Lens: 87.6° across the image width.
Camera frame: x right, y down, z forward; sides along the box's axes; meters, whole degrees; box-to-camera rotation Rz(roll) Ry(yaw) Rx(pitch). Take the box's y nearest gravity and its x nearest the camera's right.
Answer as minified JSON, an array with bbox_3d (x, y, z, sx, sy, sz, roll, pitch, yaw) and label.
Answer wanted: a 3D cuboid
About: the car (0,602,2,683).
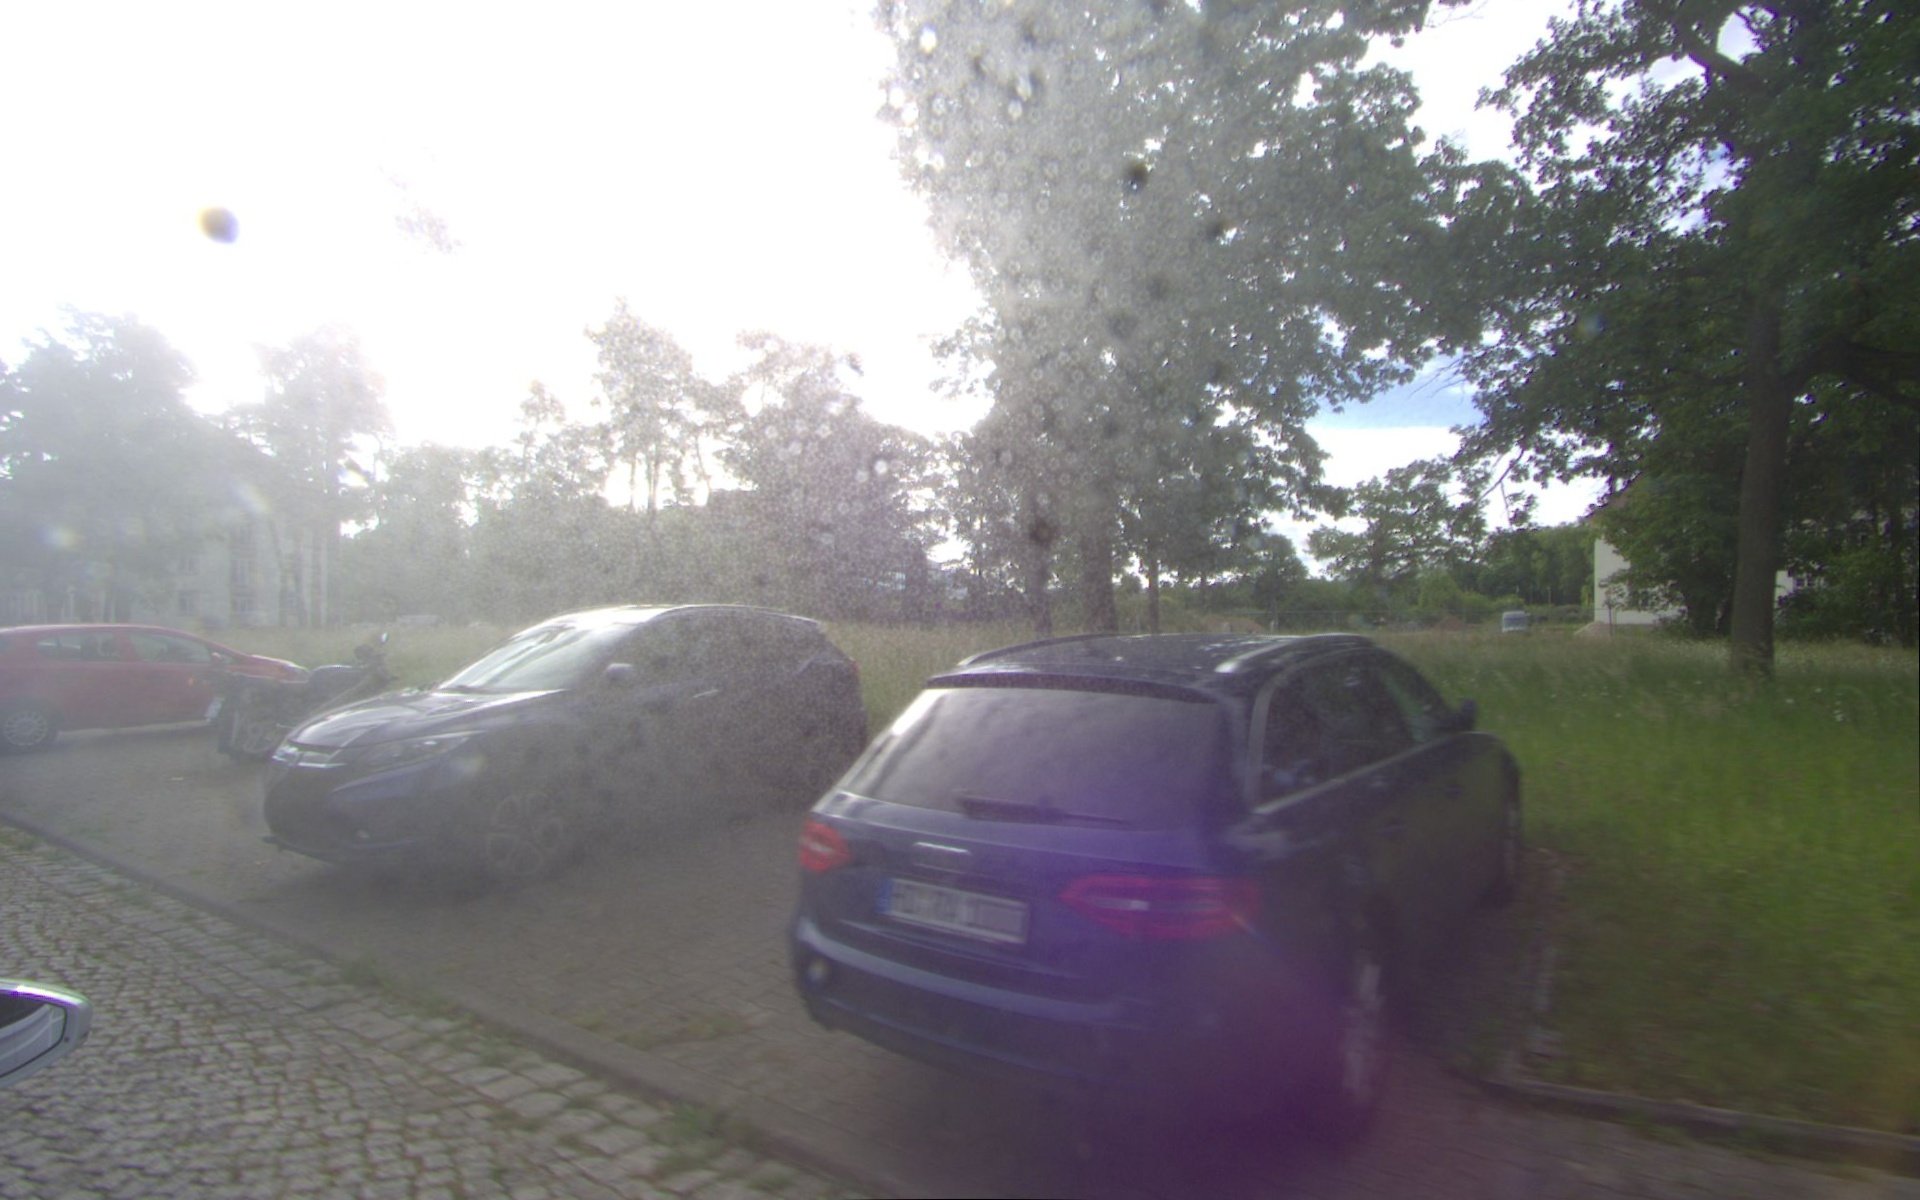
[{"bbox_3d":[-26.363,1.080,23.872,1.938,2.030,4.785,0,0,33],"label":"car"}]

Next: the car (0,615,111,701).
[{"bbox_3d":[-19.076,1.108,18.972,1.925,1.616,4.194,0,0,32],"label":"car"}]

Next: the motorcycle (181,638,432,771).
[{"bbox_3d":[-6.964,1.058,10.823,0.560,1.218,2.225,0,0,32],"label":"motorcycle"}]

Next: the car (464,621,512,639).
[{"bbox_3d":[-49.622,3.186,105.290,1.875,1.826,4.122,-1,-3,36],"label":"car"}]

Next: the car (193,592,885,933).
[{"bbox_3d":[-2.555,0.803,7.118,1.860,1.644,4.235,0,0,33],"label":"car"}]

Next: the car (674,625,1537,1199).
[{"bbox_3d":[1.136,0.881,4.392,1.902,1.458,4.341,0,0,37],"label":"car"}]

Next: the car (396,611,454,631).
[{"bbox_3d":[-58.935,2.339,110.432,2.078,2.045,5.287,-1,-3,35],"label":"car"}]

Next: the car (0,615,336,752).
[{"bbox_3d":[-10.727,0.974,13.173,1.760,1.516,3.914,0,0,33],"label":"car"}]

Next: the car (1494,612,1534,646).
[{"bbox_3d":[45.782,2.463,82.905,2.239,2.674,5.670,0,-2,22],"label":"car"}]

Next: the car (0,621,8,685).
[{"bbox_3d":[-24.322,1.259,22.409,1.697,1.498,4.090,0,0,32],"label":"car"}]
